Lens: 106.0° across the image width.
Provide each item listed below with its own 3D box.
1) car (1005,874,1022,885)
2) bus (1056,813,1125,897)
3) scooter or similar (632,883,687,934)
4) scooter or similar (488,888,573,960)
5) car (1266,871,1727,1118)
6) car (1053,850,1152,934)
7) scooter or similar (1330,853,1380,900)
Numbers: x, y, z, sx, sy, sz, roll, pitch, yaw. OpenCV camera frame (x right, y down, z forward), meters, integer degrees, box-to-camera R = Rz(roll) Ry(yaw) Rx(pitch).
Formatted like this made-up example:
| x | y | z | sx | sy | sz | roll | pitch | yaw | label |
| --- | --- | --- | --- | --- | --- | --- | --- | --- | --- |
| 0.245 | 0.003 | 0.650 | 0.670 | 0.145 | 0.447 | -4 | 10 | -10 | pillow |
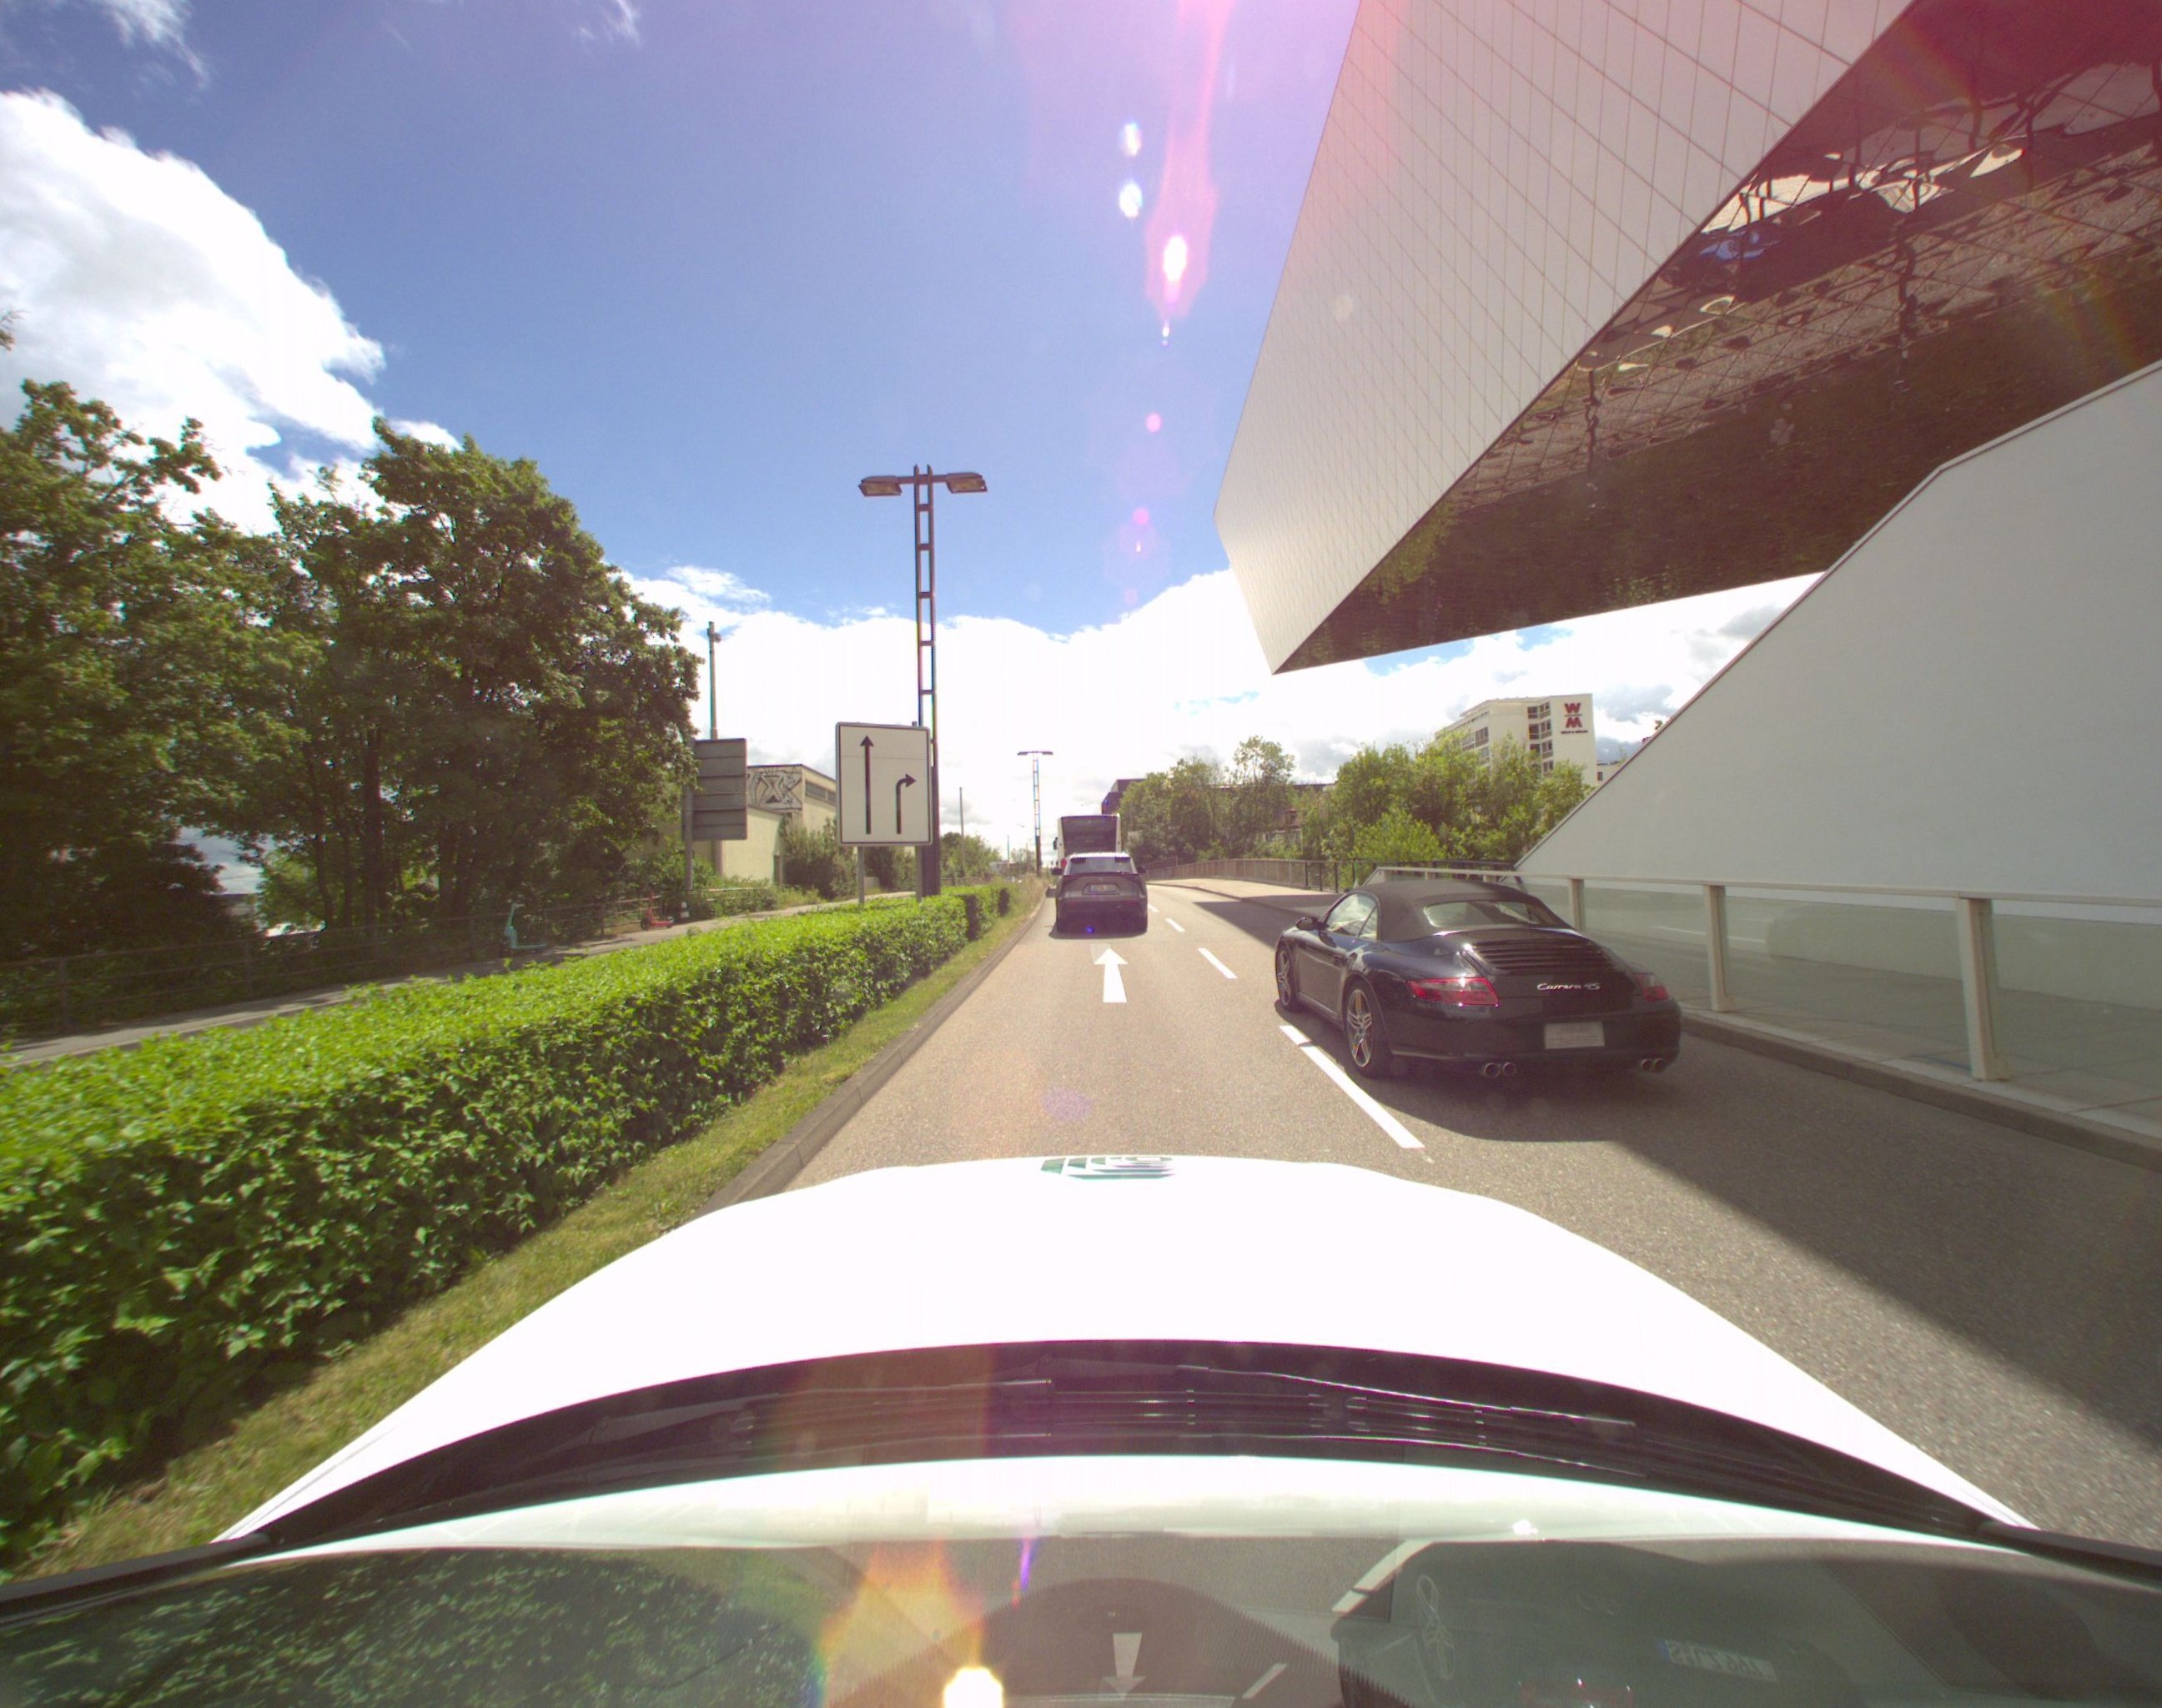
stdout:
| x | y | z | sx | sy | sz | roll | pitch | yaw | label |
| --- | --- | --- | --- | --- | --- | --- | --- | --- | --- |
| -8.614 | 3.287 | 104.367 | 1.749 | 1.276 | 3.997 | -5 | -2 | -1 | car |
| 0.404 | -0.021 | 37.937 | 2.680 | 3.255 | 12.057 | -1 | 1 | 0 | bus |
| -11.232 | 1.436 | 21.754 | 0.489 | 1.216 | 1.644 | -3 | 0 | 4 | scooter or similar |
| -11.063 | 1.376 | 16.424 | 0.489 | 1.304 | 1.644 | -1 | 0 | 4 | scooter or similar |
| 2.759 | 0.822 | 6.551 | 1.713 | 1.275 | 4.089 | -1 | -1 | 2 | car |
| 0.432 | 0.749 | 17.688 | 1.873 | 1.594 | 4.229 | -1 | -1 | 1 | car |
| 7.594 | 0.614 | 22.649 | 0.651 | 1.214 | 1.856 | -3 | -1 | -1 | scooter or similar |
